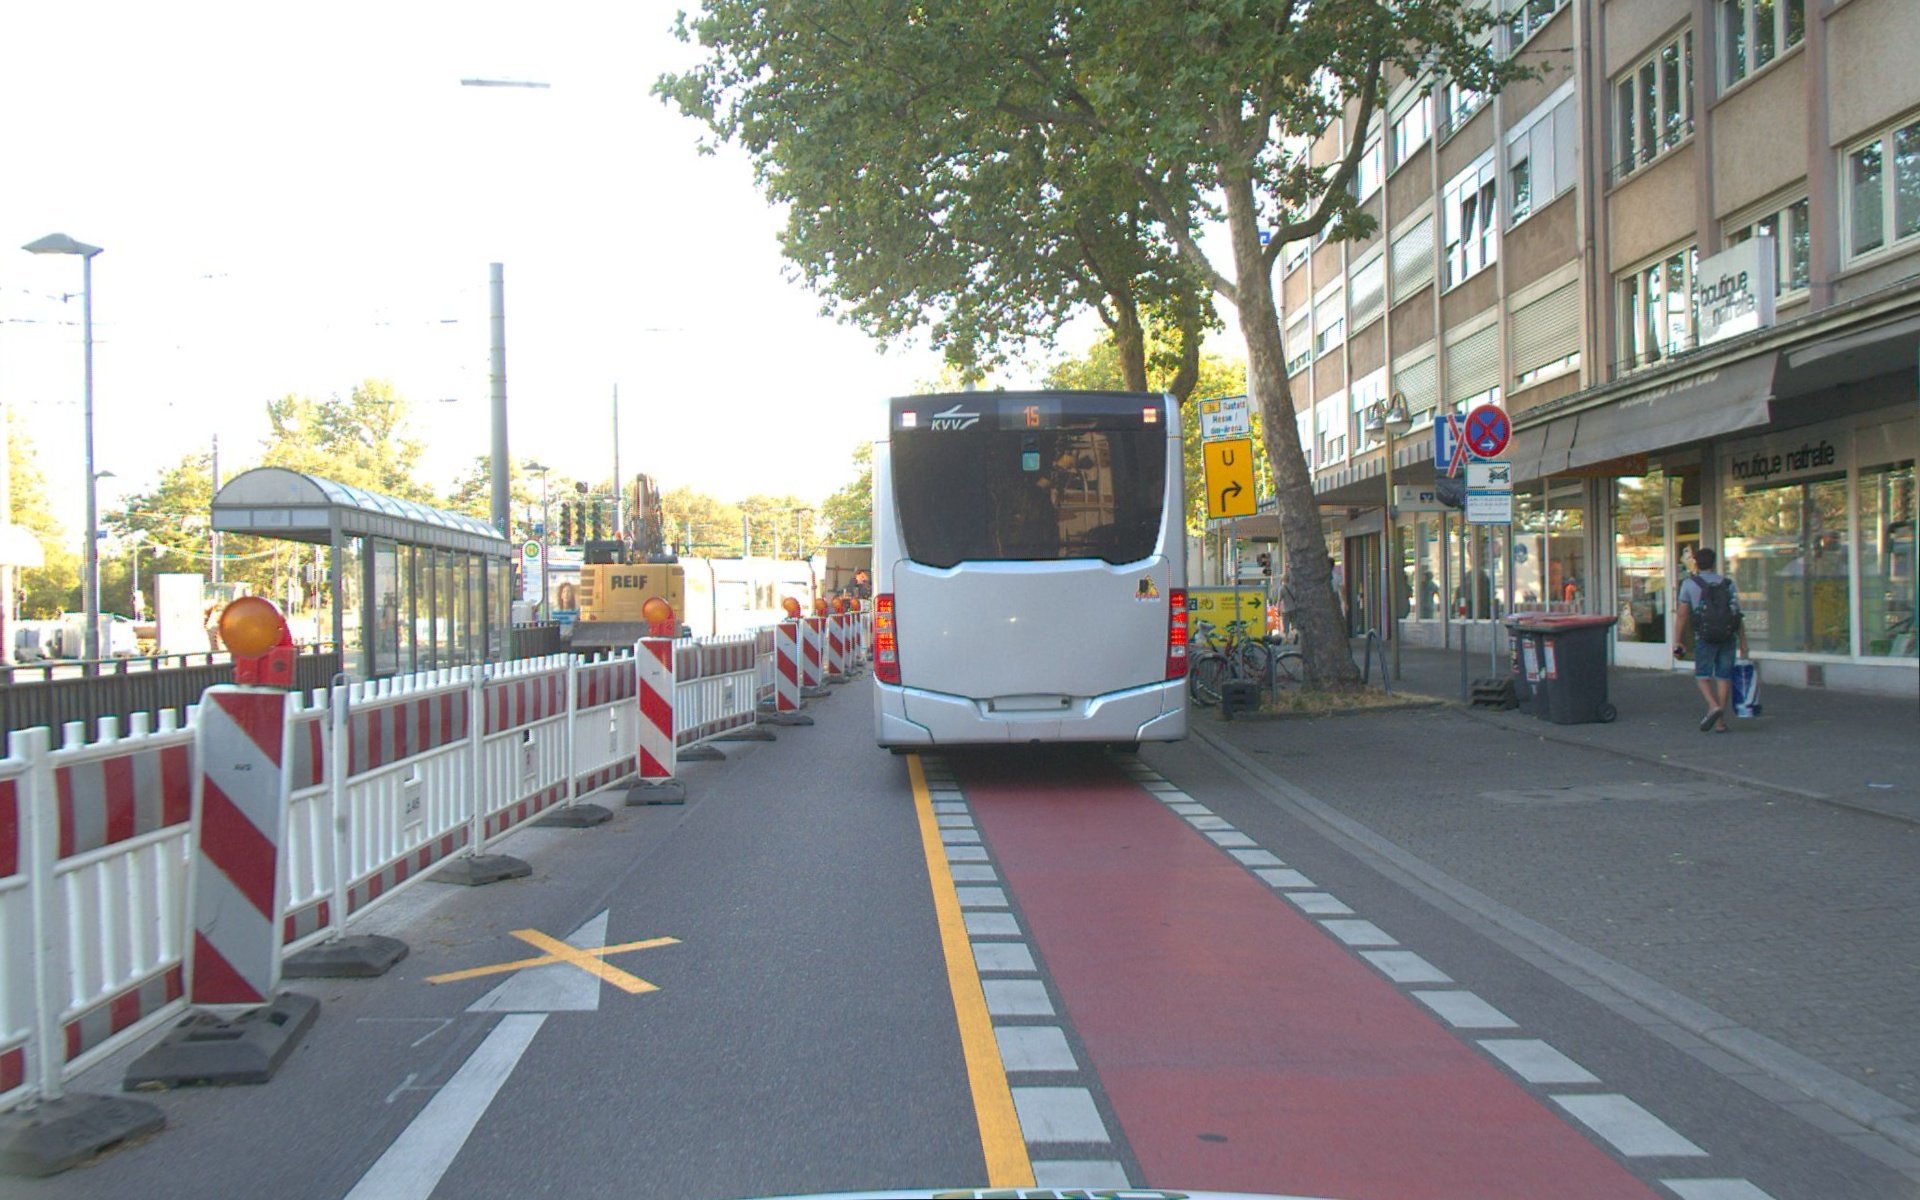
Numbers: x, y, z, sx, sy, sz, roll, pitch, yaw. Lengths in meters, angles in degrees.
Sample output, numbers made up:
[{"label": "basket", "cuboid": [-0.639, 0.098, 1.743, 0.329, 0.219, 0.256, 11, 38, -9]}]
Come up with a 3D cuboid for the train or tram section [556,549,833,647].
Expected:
[{"label": "train or tram section", "cuboid": [-10.419, -0.047, 67.407, 2.800, 3.595, 13.353, -1, -1, 34]}]

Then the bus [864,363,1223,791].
[{"label": "bus", "cuboid": [0.451, -0.200, 17.784, 2.678, 3.194, 10.699, 0, 0, -2]}]

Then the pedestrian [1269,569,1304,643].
[{"label": "pedestrian", "cuboid": [7.806, 0.141, 39.570, 0.571, 1.738, 0.679, -4, 0, -2]}]

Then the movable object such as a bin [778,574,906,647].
[{"label": "movable object such as a bin", "cuboid": [-3.829, 0.305, 54.593, 1.954, 2.296, 5.204, 0, 1, 25]}]

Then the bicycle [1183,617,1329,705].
[{"label": "bicycle", "cuboid": [3.874, 0.790, 21.738, 1.754, 1.040, 0.643, -3, 0, -4]}]

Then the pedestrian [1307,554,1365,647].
[{"label": "pedestrian", "cuboid": [8.066, 0.007, 35.516, 0.821, 1.901, 1.099, -5, 0, -2]}]

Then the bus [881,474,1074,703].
[{"label": "bus", "cuboid": [0.096, -0.163, 27.601, 2.654, 3.161, 8.976, -1, 0, -2]}]

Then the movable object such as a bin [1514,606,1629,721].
[{"label": "movable object such as a bin", "cuboid": [6.298, 0.634, 17.088, 0.660, 1.094, 1.228, -4, 0, -1]}]

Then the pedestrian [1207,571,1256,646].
[{"label": "pedestrian", "cuboid": [6.576, 0.201, 40.145, 0.881, 1.740, 1.070, -4, 0, -2]}]

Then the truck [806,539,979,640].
[{"label": "truck", "cuboid": [-2.413, -0.388, 63.835, 2.756, 3.603, 8.976, -1, 0, 26]}]

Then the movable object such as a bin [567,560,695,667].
[{"label": "movable object such as a bin", "cuboid": [-7.758, 0.290, 39.461, 2.593, 2.358, 4.894, -1, 0, -7]}]

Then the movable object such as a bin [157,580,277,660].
[{"label": "movable object such as a bin", "cuboid": [-26.430, 0.681, 59.020, 2.106, 2.685, 4.599, -1, 0, 0]}]

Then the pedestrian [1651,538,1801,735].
[{"label": "pedestrian", "cuboid": [6.963, 0.321, 15.081, 0.826, 1.702, 0.990, -3, 0, -2]}]

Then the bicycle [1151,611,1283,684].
[{"label": "bicycle", "cuboid": [4.147, 0.758, 26.728, 1.948, 1.077, 0.770, -3, 0, -4]}]

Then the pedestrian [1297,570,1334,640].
[{"label": "pedestrian", "cuboid": [8.494, 0.116, 39.542, 0.620, 1.601, 0.774, -4, 1, -2]}]

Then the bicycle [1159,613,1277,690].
[{"label": "bicycle", "cuboid": [3.941, 0.778, 25.320, 1.678, 1.076, 0.644, -3, 0, 0]}]

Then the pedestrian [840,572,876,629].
[{"label": "pedestrian", "cuboid": [-3.755, 0.003, 60.875, 0.917, 2.048, 1.001, -1, 1, 24]}]
